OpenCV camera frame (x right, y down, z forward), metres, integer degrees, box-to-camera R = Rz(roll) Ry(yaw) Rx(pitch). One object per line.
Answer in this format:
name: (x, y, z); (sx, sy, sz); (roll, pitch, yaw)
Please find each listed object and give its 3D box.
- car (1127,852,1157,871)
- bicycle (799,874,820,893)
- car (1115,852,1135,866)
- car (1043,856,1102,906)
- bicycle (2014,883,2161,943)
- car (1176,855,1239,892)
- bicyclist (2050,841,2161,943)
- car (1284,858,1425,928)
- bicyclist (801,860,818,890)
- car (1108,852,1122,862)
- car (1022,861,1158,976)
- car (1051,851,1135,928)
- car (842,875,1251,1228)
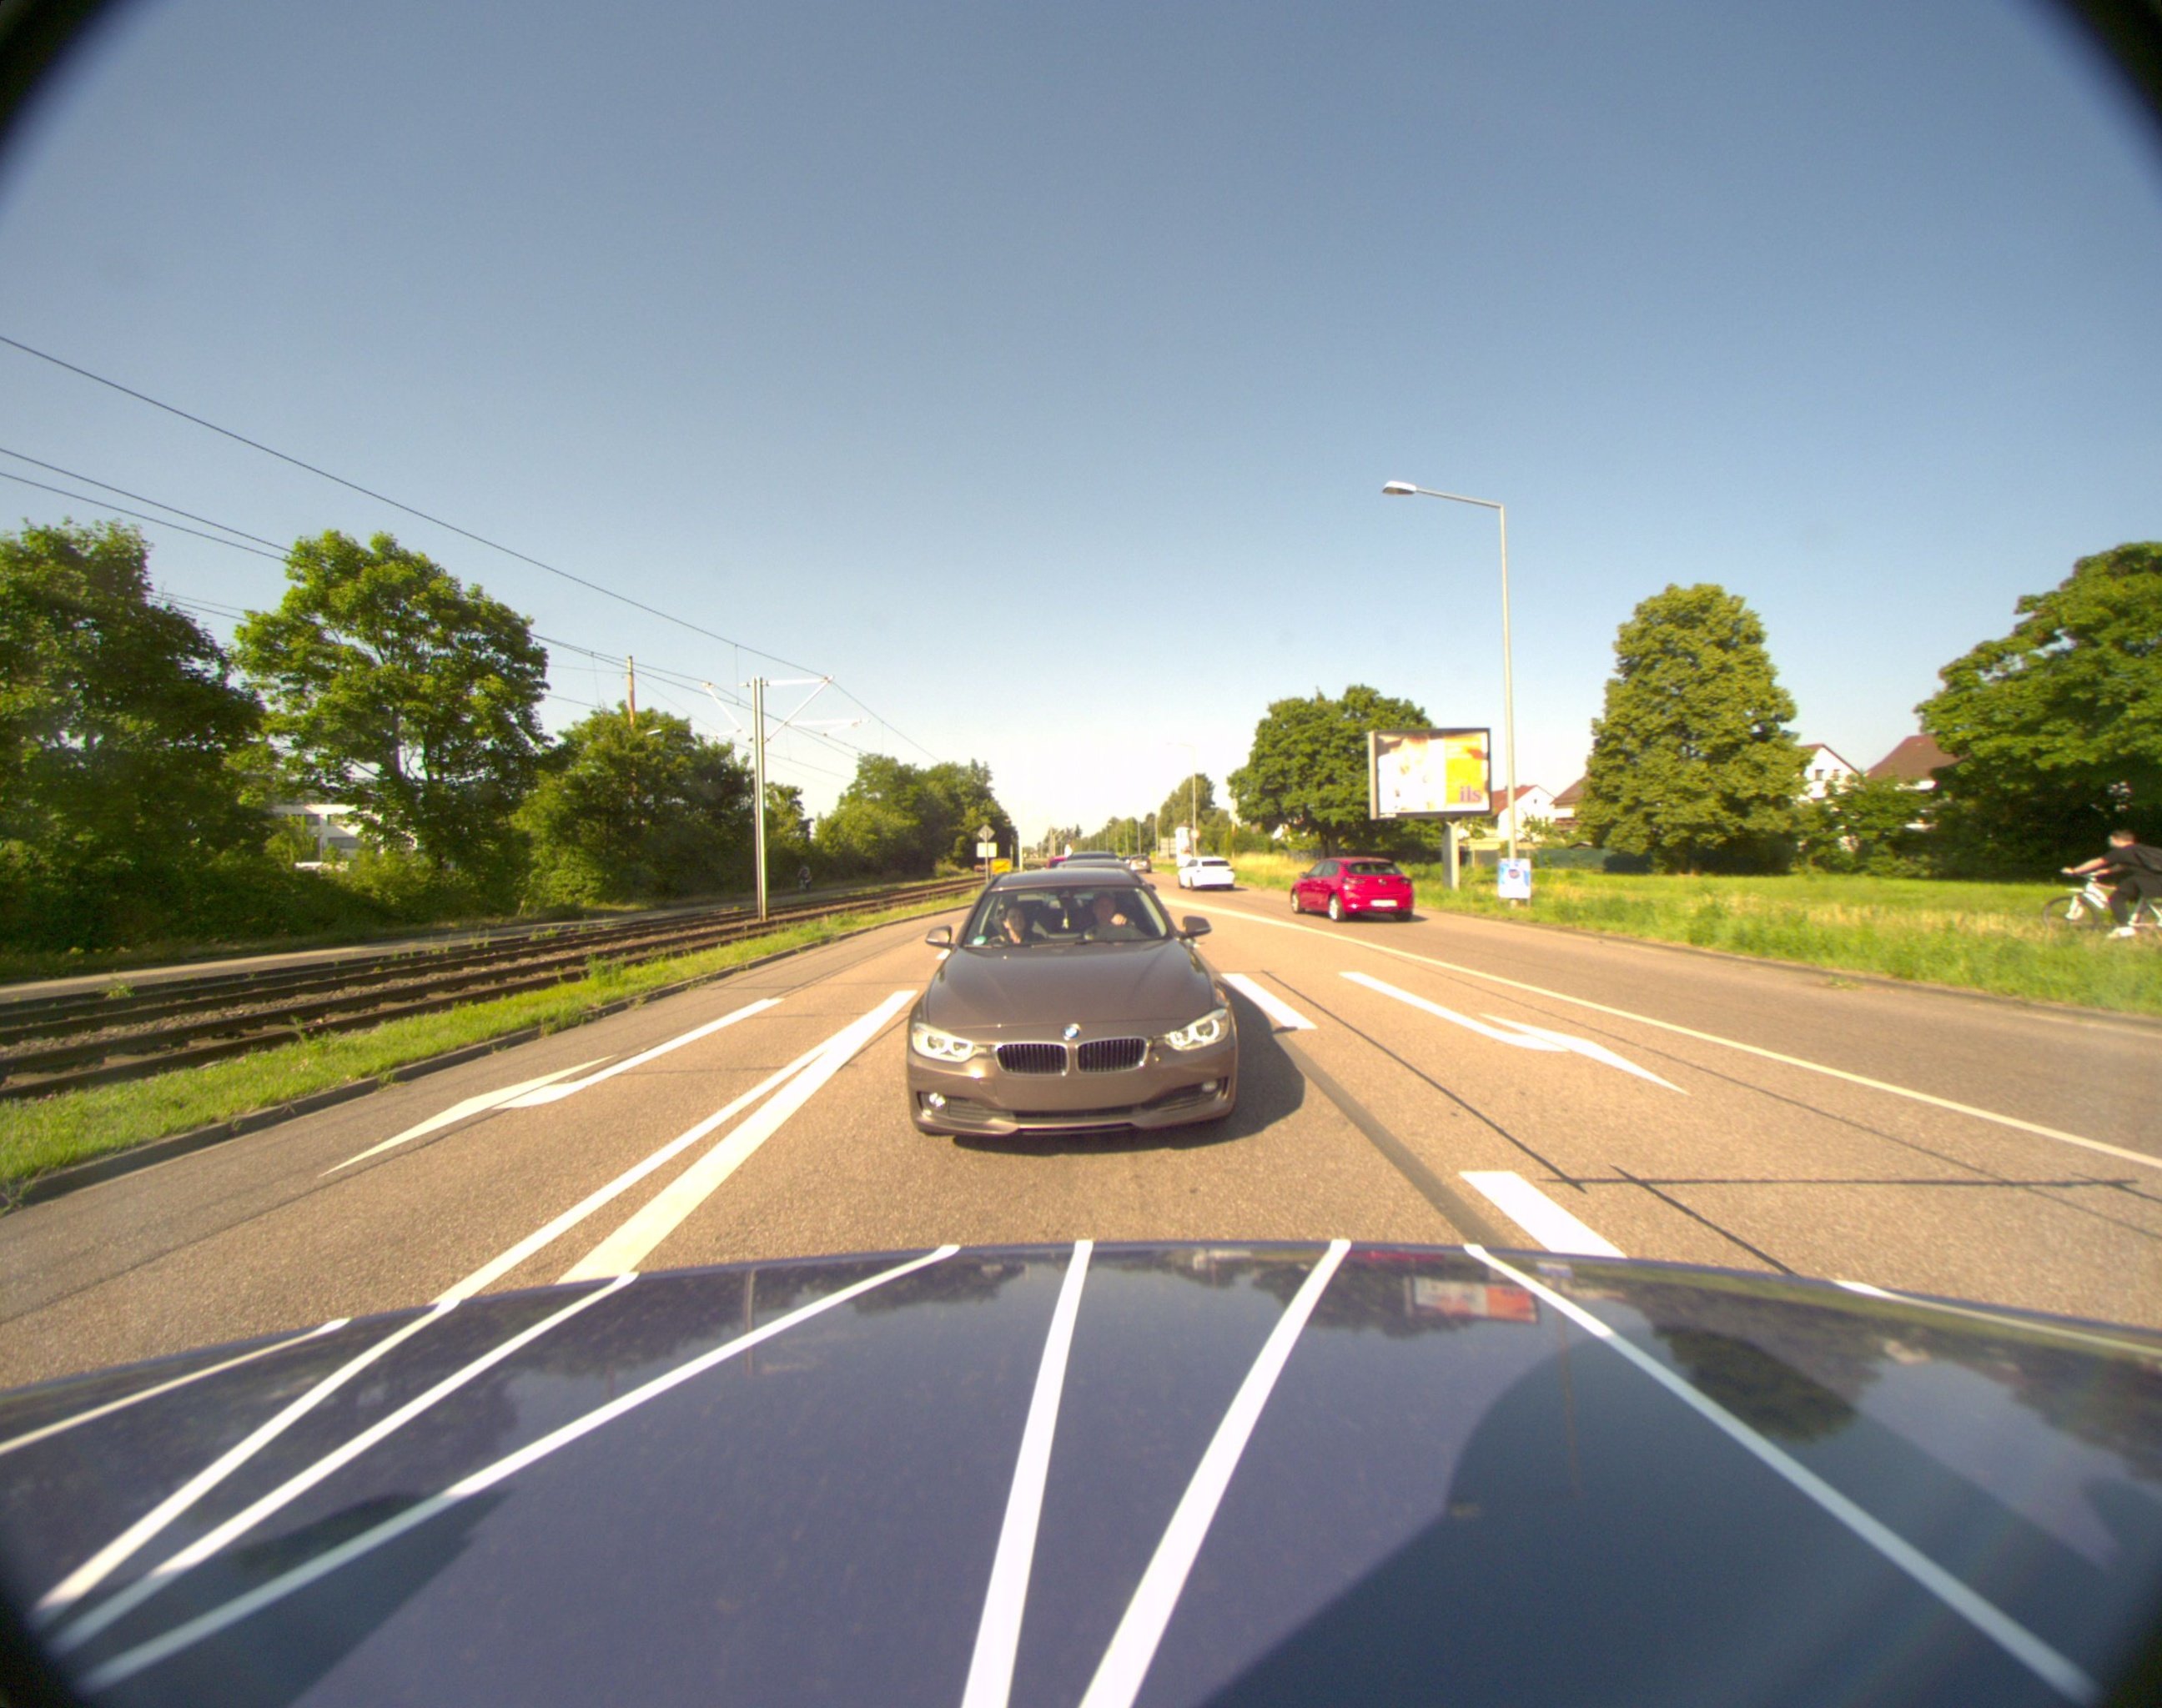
car: (4.909, 0.592, 61.836); (1.784, 1.469, 4.285); (-1, 0, -4)
bicycle: (-16.393, 1.753, 45.869); (0.547, 1.041, 1.874); (-1, 0, 1)
car: (5.006, 0.558, 87.108); (1.784, 1.469, 4.285); (-1, 0, -3)
car: (-0.243, 0.857, 25.987); (1.807, 1.498, 4.197); (-1, 0, 0)
bicycle: (15.227, 0.845, 11.318); (0.455, 0.749, 1.834); (-1, 0, 2)
car: (5.437, 0.792, 33.180); (1.784, 1.469, 4.271); (-1, 0, -4)
bicyclist: (15.266, 0.533, 11.179); (0.638, 1.420, 1.072); (-1, 0, 2)
car: (6.320, 0.833, 18.035); (1.784, 1.469, 3.913); (0, 0, -3)
bicyclist: (-16.393, 1.270, 45.872); (0.708, 1.797, 0.718); (-1, 1, 3)
car: (5.126, 0.450, 115.285); (1.784, 1.469, 4.285); (-1, 0, -3)
car: (0.140, 0.897, 12.652); (1.821, 1.481, 4.611); (-1, 0, 0)
car: (0.287, 0.797, 19.368); (1.821, 1.641, 4.611); (-2, 0, 0)
car: (-0.131, 0.972, 5.718); (1.821, 1.416, 4.461); (-2, 0, 1)
